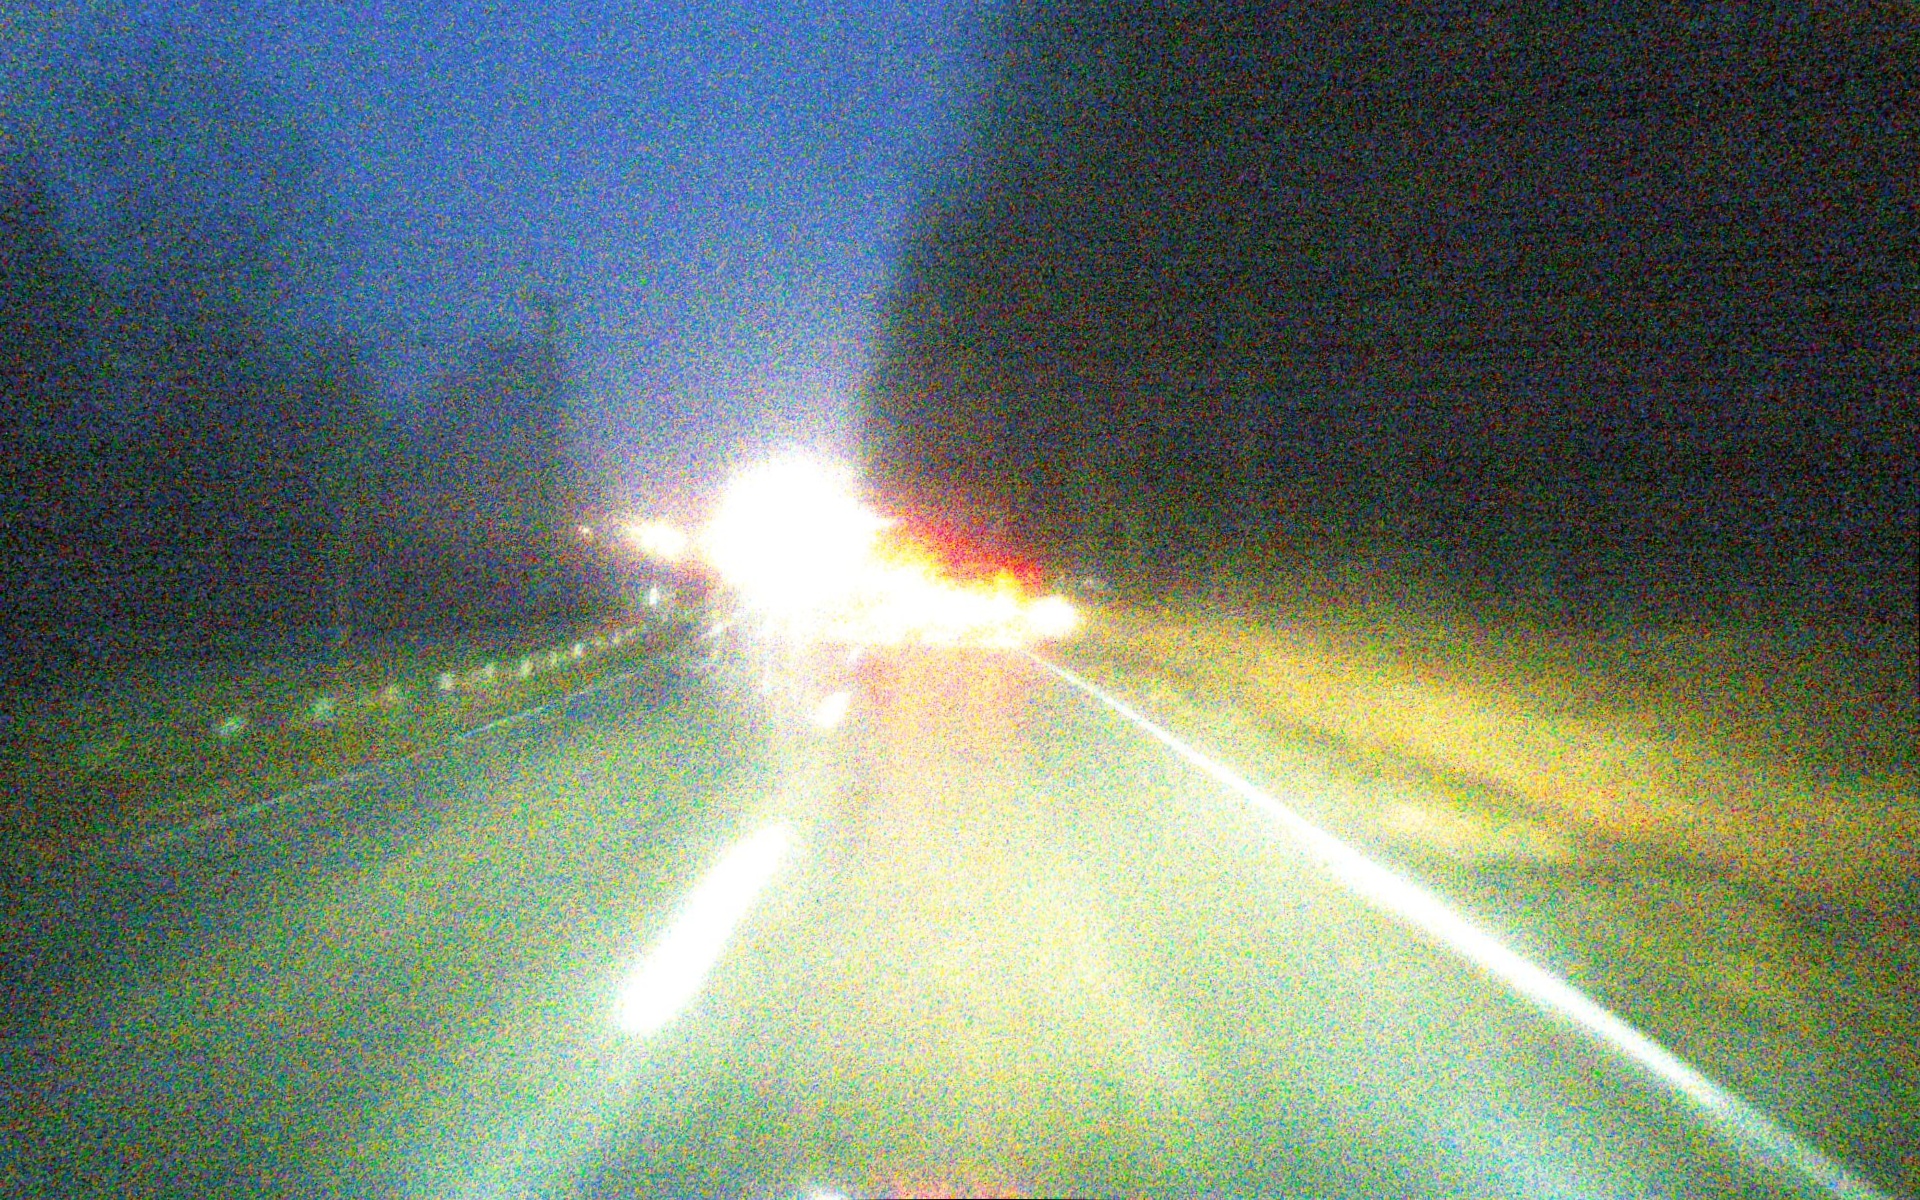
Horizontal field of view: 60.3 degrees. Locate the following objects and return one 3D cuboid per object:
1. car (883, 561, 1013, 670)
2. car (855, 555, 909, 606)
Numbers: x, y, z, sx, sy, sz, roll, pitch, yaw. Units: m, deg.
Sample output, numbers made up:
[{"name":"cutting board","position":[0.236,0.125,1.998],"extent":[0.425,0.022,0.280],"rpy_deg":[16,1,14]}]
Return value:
[{"name":"car","position":[-0.305,0.272,33.270],"extent":[2.408,1.992,4.910],"rpy_deg":[1,0,-2]},{"name":"car","position":[-3.407,-0.855,71.569],"extent":[1.956,2.048,3.994],"rpy_deg":[3,1,-7]}]
